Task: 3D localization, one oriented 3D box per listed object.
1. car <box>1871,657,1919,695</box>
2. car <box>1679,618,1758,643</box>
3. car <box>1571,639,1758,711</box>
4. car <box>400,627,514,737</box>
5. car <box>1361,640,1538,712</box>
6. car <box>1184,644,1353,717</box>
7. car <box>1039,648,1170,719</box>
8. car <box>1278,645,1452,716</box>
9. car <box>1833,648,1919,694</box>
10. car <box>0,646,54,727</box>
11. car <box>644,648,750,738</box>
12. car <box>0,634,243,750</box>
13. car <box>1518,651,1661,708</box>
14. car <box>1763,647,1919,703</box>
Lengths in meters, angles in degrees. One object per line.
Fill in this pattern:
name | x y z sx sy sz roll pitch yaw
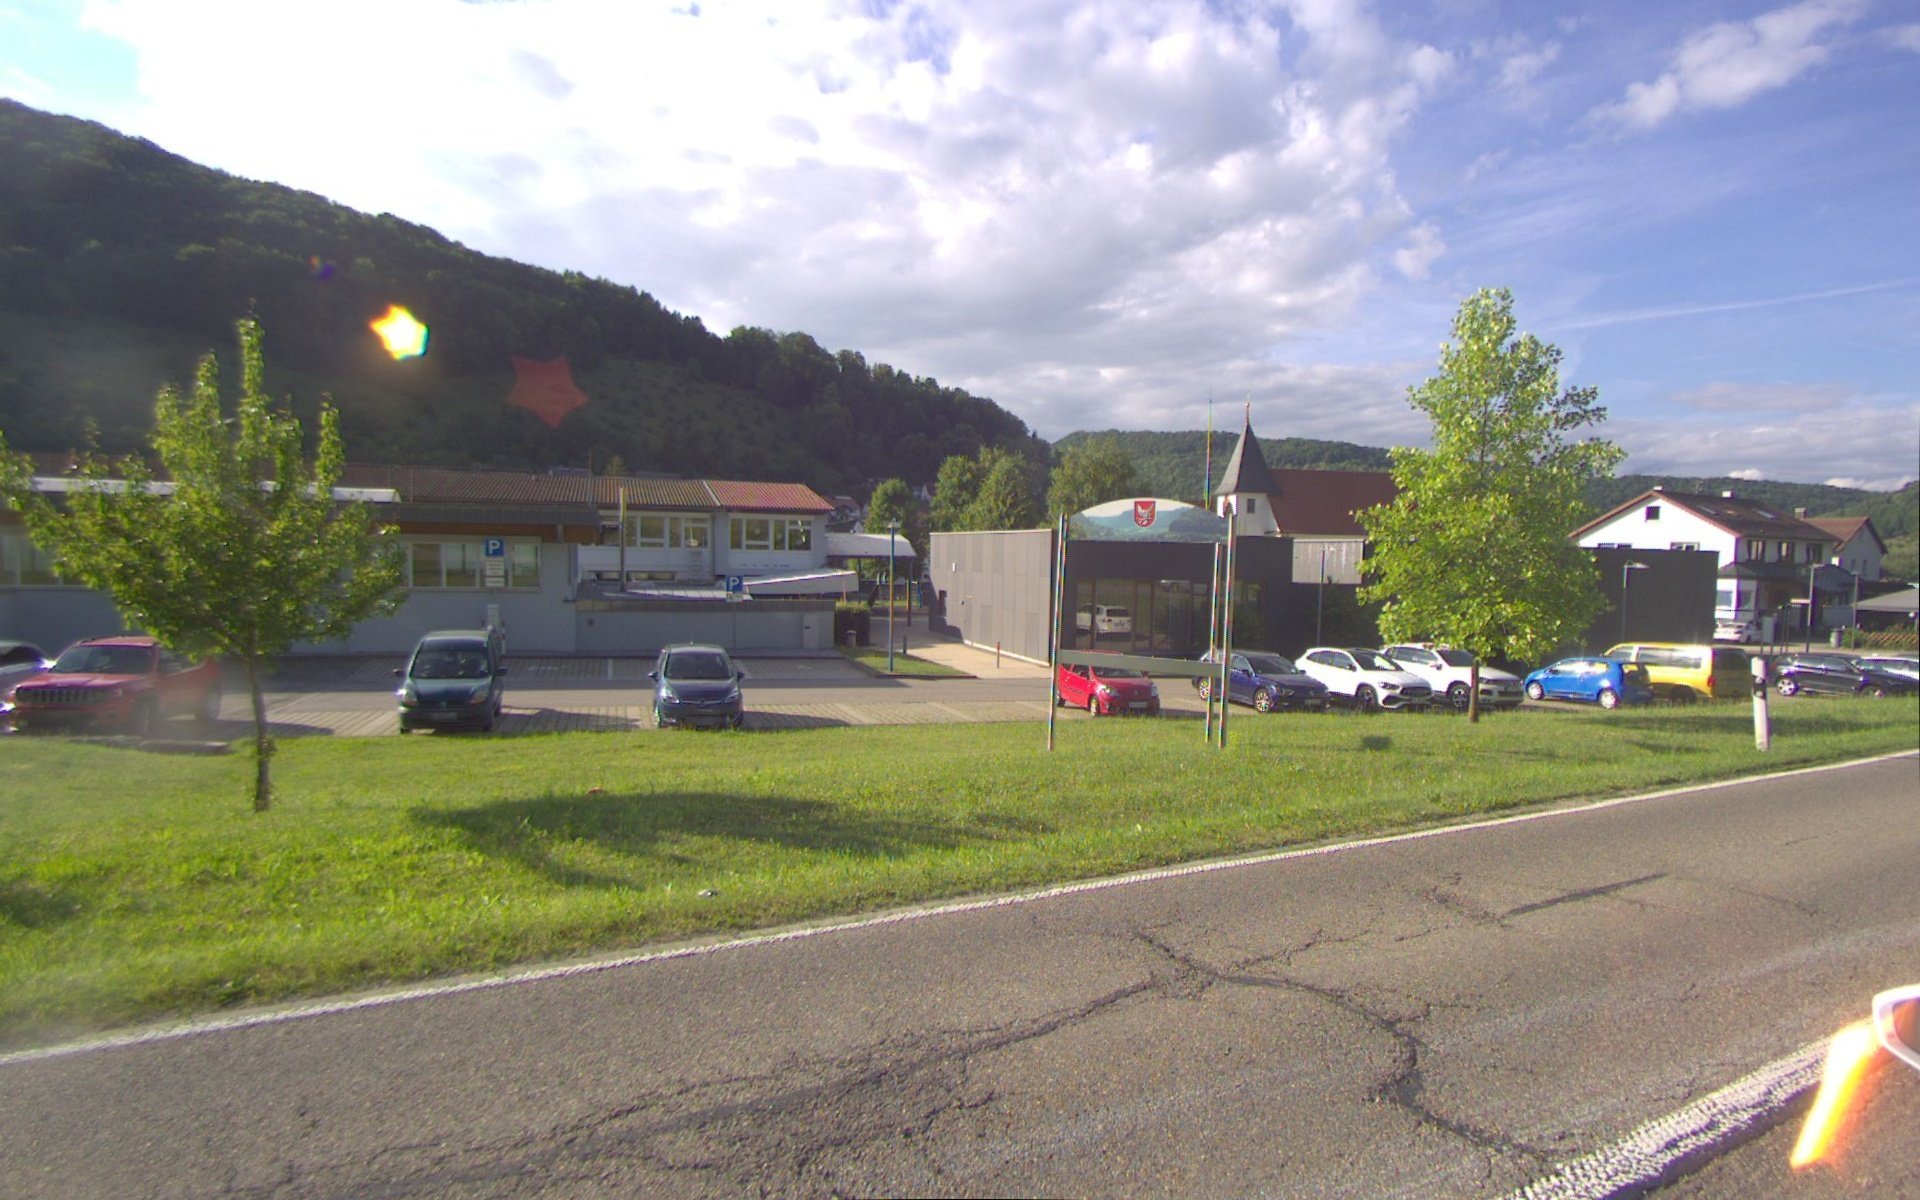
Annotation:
car | 37.569 2.971 38.181 1.737 1.327 3.975 2 0 -25
car | 48.352 1.947 64.033 3.927 1.461 1.767 2 0 -9
car | 22.184 2.310 31.903 1.968 1.893 4.608 2 0 -17
car | -10.167 1.558 20.614 1.660 1.817 4.981 2 0 -22
car | 14.208 2.168 29.451 1.970 1.725 4.532 2 0 -20
car | 8.130 2.085 26.974 1.970 1.575 4.532 2 0 -20
car | 3.489 2.010 24.877 1.591 1.416 3.715 2 0 -20
car | 11.176 2.177 28.092 1.970 1.575 4.532 2 0 -20
car | 35.585 2.666 37.035 1.853 1.513 4.806 2 0 -20
car | -18.028 1.554 17.579 1.824 1.386 3.882 2 -1 -19
car | -5.684 1.884 21.394 1.660 1.471 3.999 -1 1 -22
car | -15.045 1.565 18.323 1.818 1.691 4.320 2 0 -16
car | 19.590 2.437 31.383 1.609 1.491 3.486 2 0 -23
car | 31.335 2.621 35.631 1.970 1.659 4.018 2 0 -21
